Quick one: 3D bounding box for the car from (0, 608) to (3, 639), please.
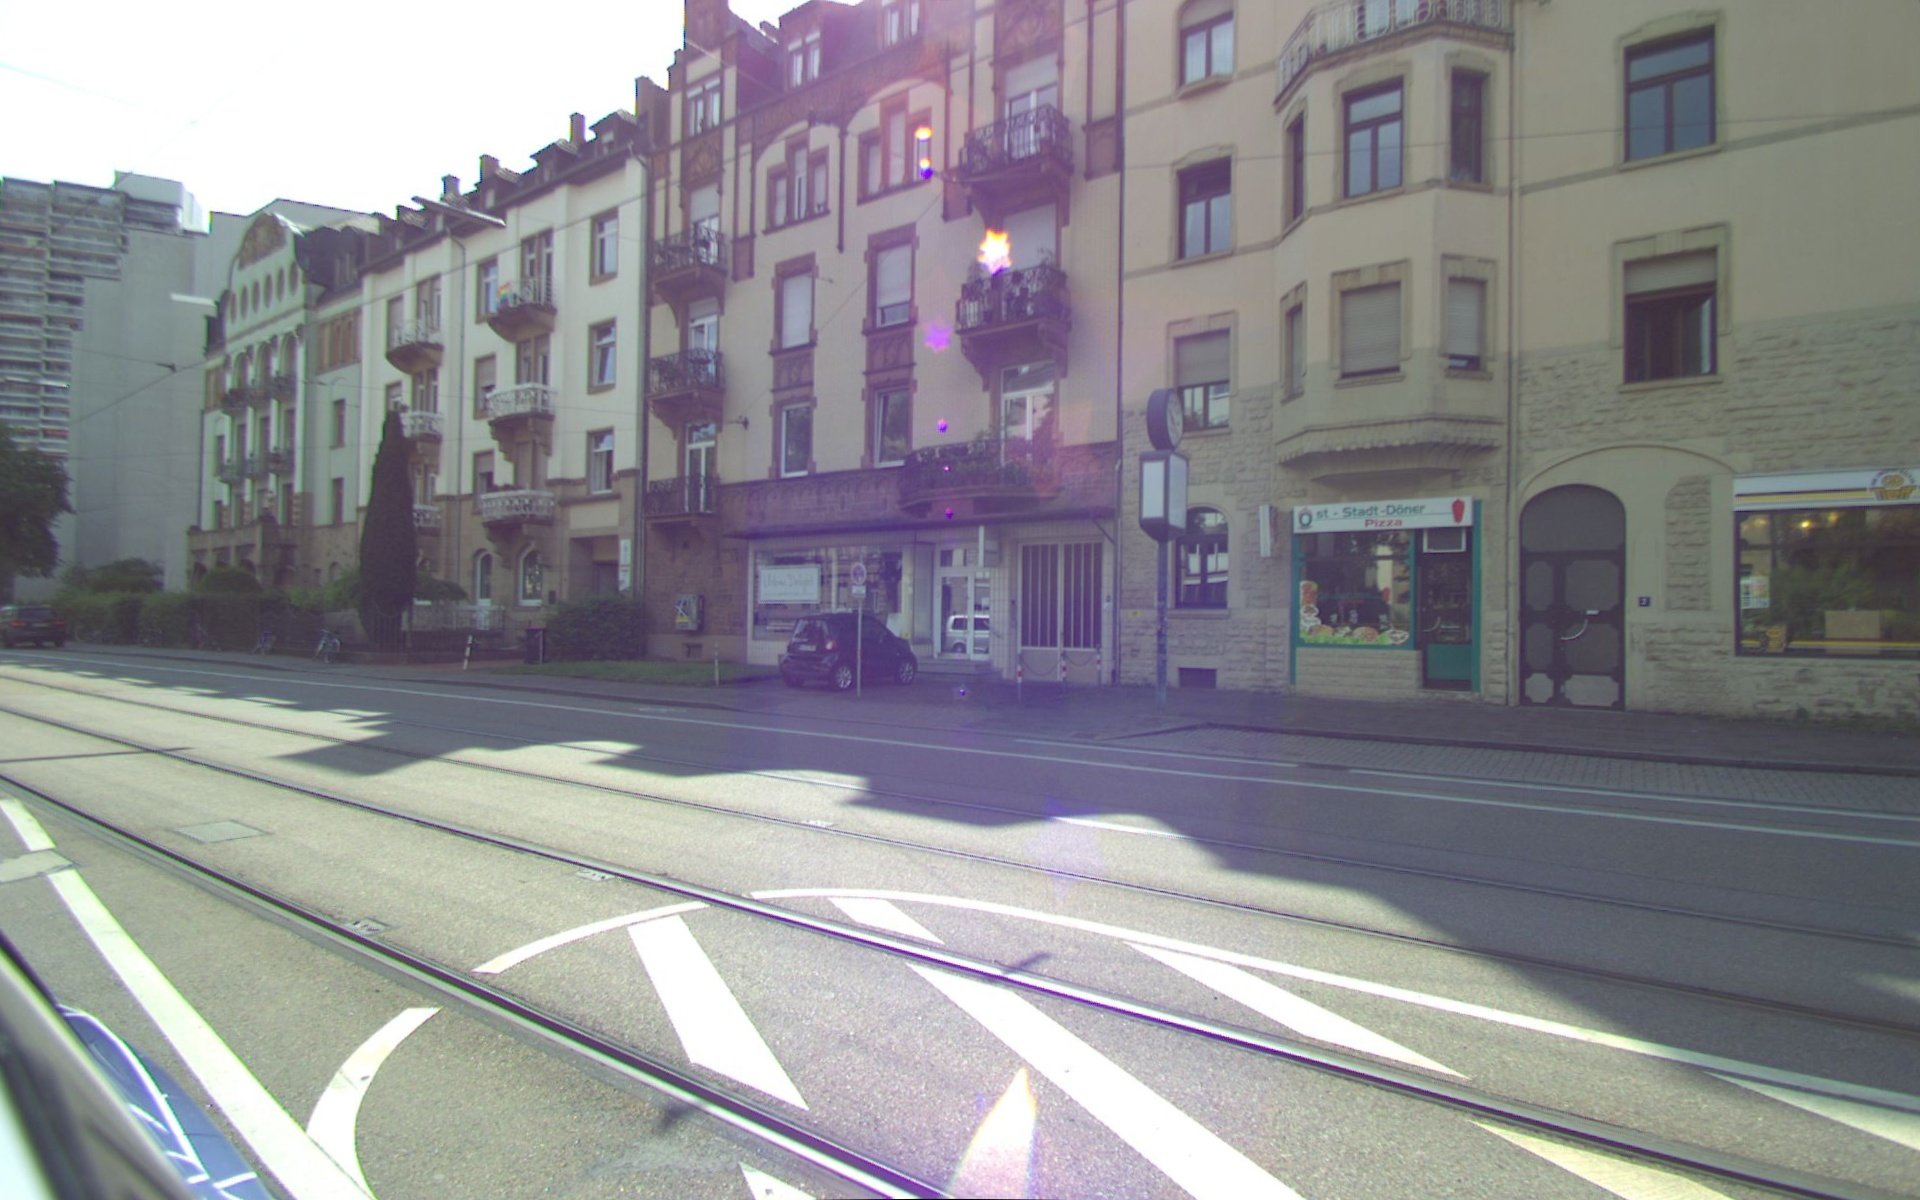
[{"bbox_3d":[-62.417,1.454,62.982,1.829,1.940,3.947,-1,-2,39],"label":"car"}]

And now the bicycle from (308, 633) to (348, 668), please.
[{"bbox_3d":[-18.644,1.482,29.853,2.068,0.913,0.517,2,0,45],"label":"bicycle"}]

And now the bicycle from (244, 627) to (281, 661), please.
[{"bbox_3d":[-22.860,1.435,33.171,1.872,1.037,0.532,0,-1,41],"label":"bicycle"}]

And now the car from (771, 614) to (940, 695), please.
[{"bbox_3d":[-2.171,1.090,21.590,1.704,1.497,3.411,-1,0,38],"label":"car"}]

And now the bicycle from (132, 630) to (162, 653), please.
[{"bbox_3d":[-31.613,1.620,39.353,1.872,0.803,0.579,0,1,41],"label":"bicycle"}]

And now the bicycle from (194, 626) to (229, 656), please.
[{"bbox_3d":[-26.494,1.440,35.813,1.872,0.993,0.579,0,-1,41],"label":"bicycle"}]

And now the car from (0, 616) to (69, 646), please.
[{"bbox_3d":[-49.501,1.612,53.149,1.633,1.547,3.842,-1,-2,38],"label":"car"}]

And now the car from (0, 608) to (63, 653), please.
[{"bbox_3d":[-38.397,1.231,41.310,4.323,1.724,1.775,-1,-2,36],"label":"car"}]
